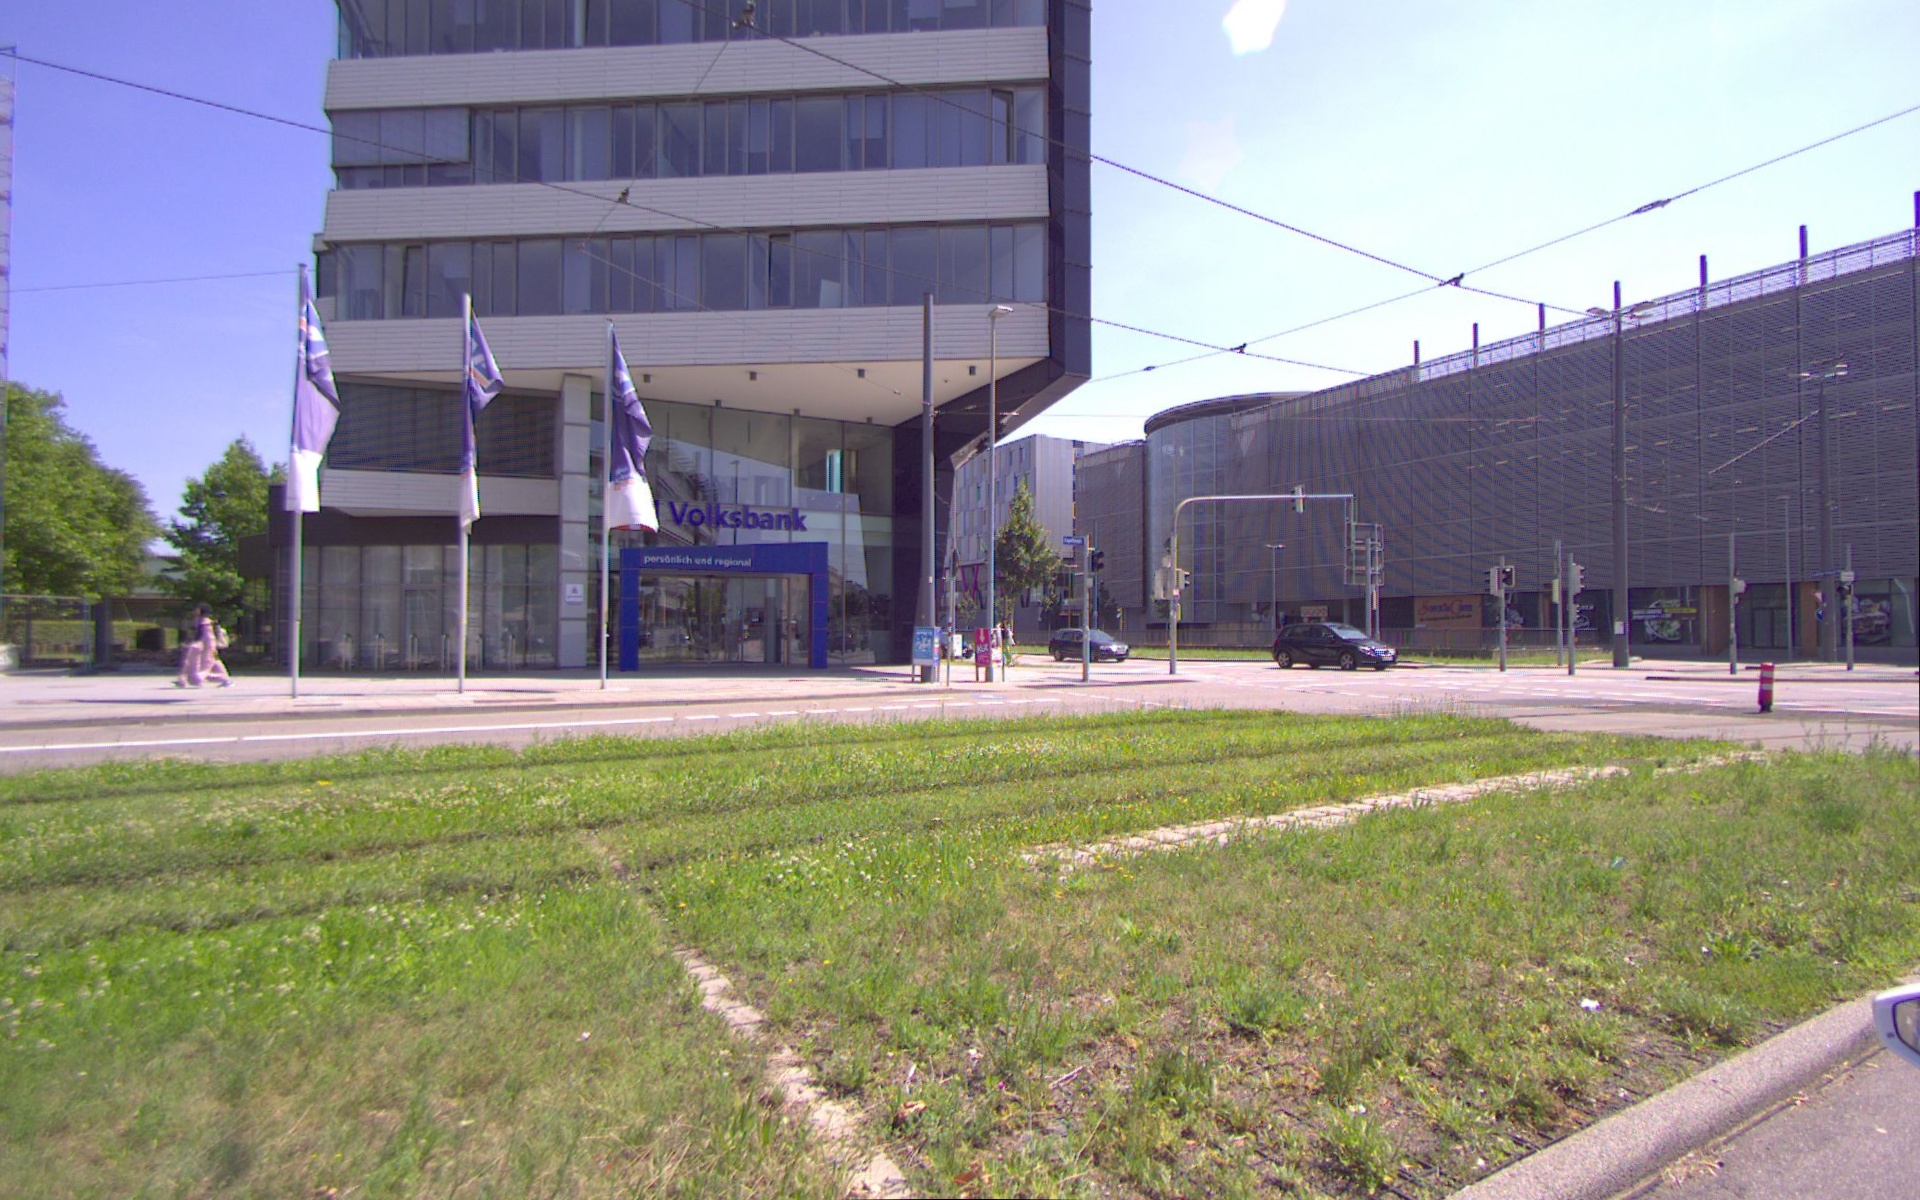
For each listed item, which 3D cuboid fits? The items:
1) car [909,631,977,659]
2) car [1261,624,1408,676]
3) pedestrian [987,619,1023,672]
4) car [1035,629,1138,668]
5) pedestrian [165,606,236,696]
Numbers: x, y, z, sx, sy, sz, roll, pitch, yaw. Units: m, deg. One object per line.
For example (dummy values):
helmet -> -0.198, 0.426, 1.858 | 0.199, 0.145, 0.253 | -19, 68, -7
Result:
car -> -0.960, 2.354, 53.498 | 1.618, 1.360, 4.280 | 0, -1, -32
car -> 12.468, 1.623, 33.678 | 1.979, 1.574, 4.294 | 0, -1, -33
pedestrian -> 1.570, 1.548, 34.711 | 0.888, 1.770, 0.976 | 0, -1, 30
car -> 5.737, 2.192, 46.000 | 1.980, 1.602, 4.823 | 0, -1, -35
pedestrian -> -14.438, 0.944, 19.109 | 0.737, 1.652, 0.912 | 0, -1, 36
